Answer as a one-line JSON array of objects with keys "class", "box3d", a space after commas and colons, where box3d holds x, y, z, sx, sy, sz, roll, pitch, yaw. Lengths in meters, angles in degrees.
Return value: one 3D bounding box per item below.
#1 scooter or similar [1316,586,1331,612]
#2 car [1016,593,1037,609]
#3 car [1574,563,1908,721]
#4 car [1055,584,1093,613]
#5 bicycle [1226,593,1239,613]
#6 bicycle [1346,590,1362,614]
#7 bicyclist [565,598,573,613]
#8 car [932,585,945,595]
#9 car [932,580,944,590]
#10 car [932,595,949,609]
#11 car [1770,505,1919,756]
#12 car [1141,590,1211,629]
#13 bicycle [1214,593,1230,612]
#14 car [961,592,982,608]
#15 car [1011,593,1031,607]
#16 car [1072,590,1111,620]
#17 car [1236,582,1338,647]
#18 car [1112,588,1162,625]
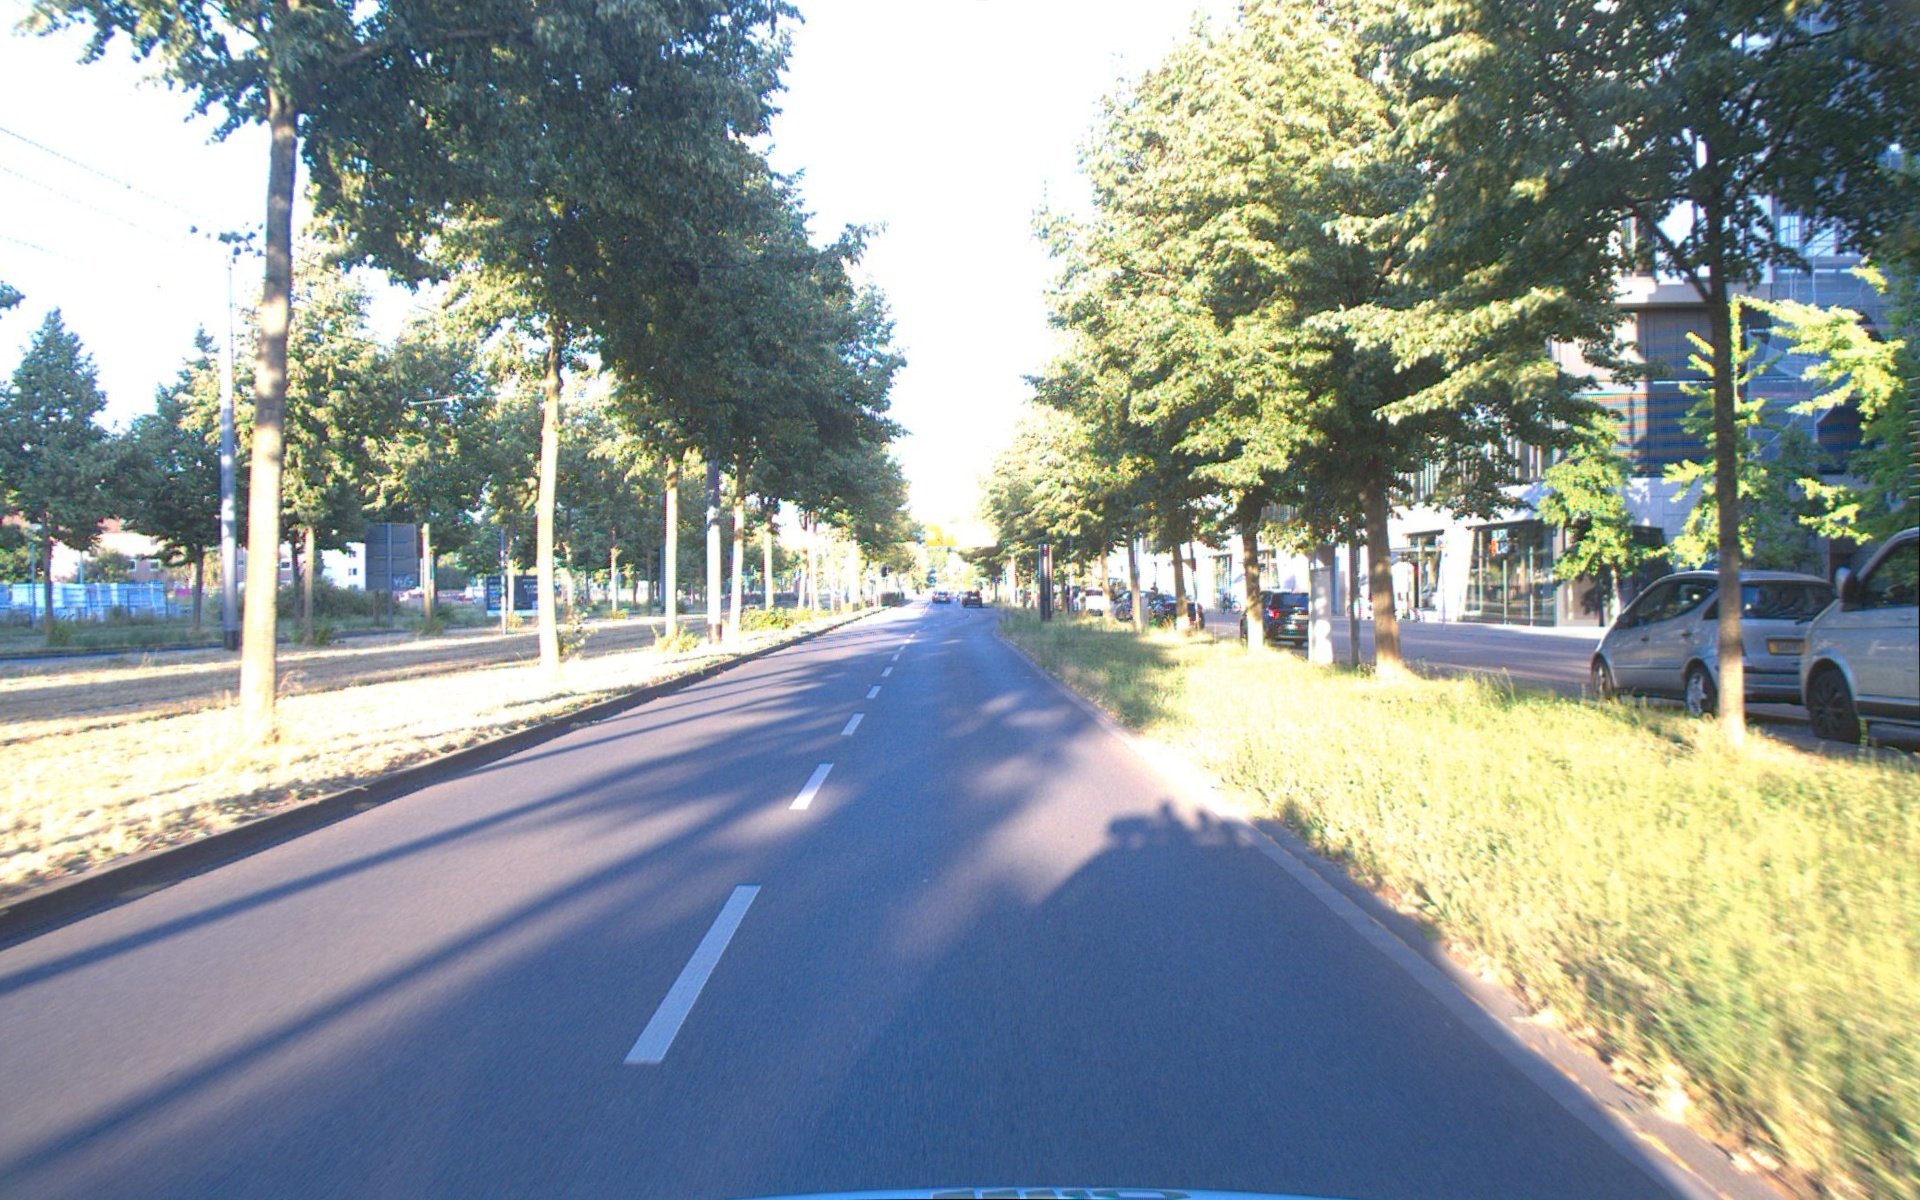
[{"class": "scooter or similar", "box3d": [17.548, -0.042, 79.850, 0.462, 1.232, 1.229, -1, 0, 0]}, {"class": "car", "box3d": [6.558, 0.096, 163.086, 1.742, 1.498, 4.286, -1, 0, -3]}, {"class": "car", "box3d": [8.695, 0.414, 18.838, 1.801, 1.598, 4.060, 0, 0, -2]}, {"class": "car", "box3d": [7.585, -0.103, 110.602, 1.954, 1.884, 4.663, -1, 0, -3]}, {"class": "bicycle", "box3d": [14.998, 0.151, 91.059, 0.461, 1.057, 1.807, -1, 0, 0]}, {"class": "bicycle", "box3d": [17.601, 0.076, 73.865, 0.444, 1.045, 1.393, -1, 0, 25]}, {"class": "bicyclist", "box3d": [-37.494, 0.520, 158.622, 0.607, 1.446, 0.937, -1, 0, -3]}, {"class": "car", "box3d": [-3.240, -1.466, 244.172, 1.873, 1.512, 3.999, -1, 0, -2]}, {"class": "car", "box3d": [-3.423, -2.277, 258.336, 1.873, 1.512, 3.999, -1, 0, -2]}, {"class": "car", "box3d": [-2.239, 0.238, 190.508, 1.873, 1.512, 3.999, -1, 0, -2]}, {"class": "car", "box3d": [8.727, 0.252, 13.273, 1.946, 2.024, 4.931, 0, 0, -1]}, {"class": "car", "box3d": [8.225, 0.342, 63.292, 1.815, 1.391, 4.832, -1, 0, -3]}, {"class": "bicycle", "box3d": [14.441, 0.141, 91.322, 0.582, 1.057, 1.892, -1, 0, 0]}, {"class": "car", "box3d": [1.046, -0.010, 154.597, 1.873, 1.512, 3.999, 0, 0, -2]}, {"class": "car", "box3d": [6.584, 0.001, 178.445, 1.722, 1.491, 4.156, -1, 0, -3]}, {"class": "car", "box3d": [7.745, 0.283, 97.797, 1.953, 1.671, 4.878, -1, 0, 0]}, {"class": "car", "box3d": [8.362, 0.340, 42.632, 1.744, 1.520, 4.000, 2, 0, -1]}, {"class": "car", "box3d": [7.793, 0.270, 73.006, 1.675, 1.542, 3.758, 2, 0, -2]}]
